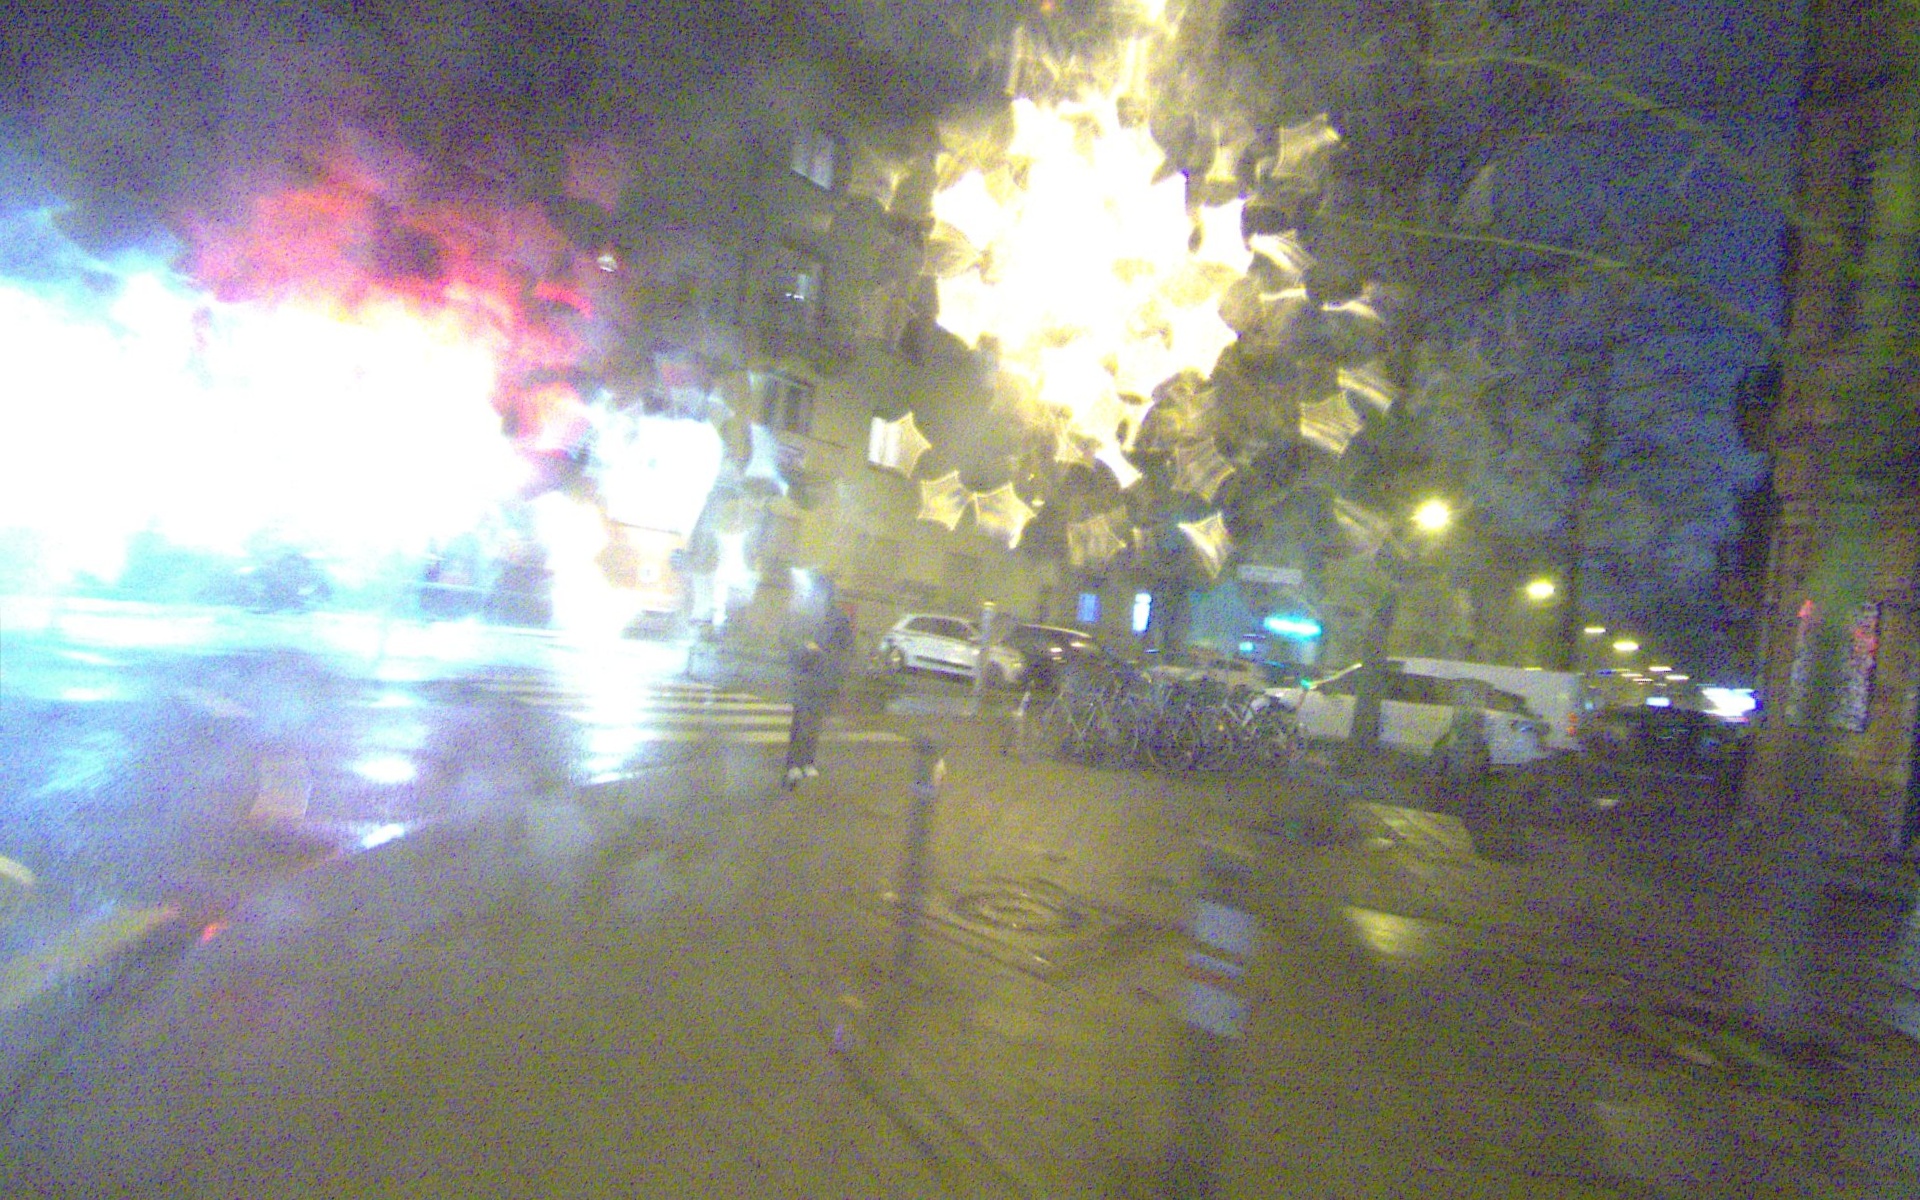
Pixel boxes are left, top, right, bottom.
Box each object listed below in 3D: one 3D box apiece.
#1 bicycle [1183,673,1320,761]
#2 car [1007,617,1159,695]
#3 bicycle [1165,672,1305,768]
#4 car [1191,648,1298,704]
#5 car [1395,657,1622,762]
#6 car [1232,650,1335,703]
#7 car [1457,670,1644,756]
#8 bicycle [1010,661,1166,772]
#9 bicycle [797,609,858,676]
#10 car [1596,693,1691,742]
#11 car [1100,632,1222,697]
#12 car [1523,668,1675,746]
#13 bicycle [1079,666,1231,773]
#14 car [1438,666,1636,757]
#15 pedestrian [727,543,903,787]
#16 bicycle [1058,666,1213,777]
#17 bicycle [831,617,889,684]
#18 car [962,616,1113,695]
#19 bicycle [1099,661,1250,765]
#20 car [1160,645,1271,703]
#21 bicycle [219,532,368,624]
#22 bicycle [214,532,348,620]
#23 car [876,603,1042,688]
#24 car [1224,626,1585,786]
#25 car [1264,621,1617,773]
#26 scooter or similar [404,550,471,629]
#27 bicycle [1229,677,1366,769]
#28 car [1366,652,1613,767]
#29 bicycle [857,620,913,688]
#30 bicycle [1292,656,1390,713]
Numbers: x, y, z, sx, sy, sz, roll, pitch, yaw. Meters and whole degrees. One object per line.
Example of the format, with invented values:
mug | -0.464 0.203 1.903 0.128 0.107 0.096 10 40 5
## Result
bicycle | 4.173 1.667 14.504 1.784 1.020 0.402 5 -3 39
car | 3.561 1.613 28.929 4.029 1.681 1.760 7 -2 13
bicycle | 3.819 1.652 14.074 1.783 1.021 0.402 7 0 39
car | 10.658 2.863 37.915 3.622 1.595 1.760 7 -2 13
car | 13.114 2.583 24.156 4.396 1.783 1.994 6 -2 37
car | 12.853 3.058 40.149 3.622 1.595 1.760 7 -2 13
car | 17.257 3.265 29.480 4.396 1.783 1.994 6 -2 37
bicycle | 1.509 1.371 12.077 1.783 1.021 0.453 7 0 39
bicycle | -2.562 0.853 19.640 0.443 1.189 1.968 6 -3 11
car | 37.711 6.482 55.537 3.944 2.037 1.991 7 -1 41
car | 6.518 2.098 32.582 3.622 1.595 1.760 7 -2 13
car | 21.654 3.603 34.165 3.948 2.036 1.992 5 -4 43
bicycle | 2.404 1.466 12.544 1.783 1.021 0.378 7 0 39
car | 15.852 3.035 27.721 4.396 1.783 1.994 6 -2 37
pedestrian | -1.209 0.523 8.313 0.872 1.855 0.973 7 0 -40
bicycle | 2.103 1.448 12.235 1.783 1.021 0.402 7 0 39
bicycle | -1.909 1.008 19.529 0.443 1.189 1.968 6 -3 11
car | 2.098 1.491 26.747 3.622 1.595 1.760 7 -2 13
bicycle | 2.713 1.417 12.870 1.783 1.021 0.402 7 0 39
car | 9.078 2.637 35.904 3.622 1.595 1.760 7 -2 13
bicycle | -10.262 -0.312 15.541 0.379 1.188 1.778 7 -1 42
bicycle | -10.898 -0.362 16.204 0.379 1.187 1.641 3 -4 42
car | 0.010 1.136 24.683 3.622 1.595 1.760 7 -2 13
car | 7.260 1.661 16.725 5.020 1.783 1.994 6 -2 38
car | 8.731 1.701 18.597 5.464 1.912 1.994 6 -2 38
scooter or similar | -9.316 -0.201 17.921 1.296 1.244 0.524 7 -1 44
bicycle | 4.862 1.757 14.588 1.751 1.021 0.402 7 0 39
car | 11.576 2.352 22.110 4.396 1.783 1.994 6 -2 37
bicycle | -1.419 1.070 19.458 0.443 1.189 1.968 6 -3 11
bicycle | 17.544 3.865 46.470 3.925 2.037 2.001 7 -1 20
